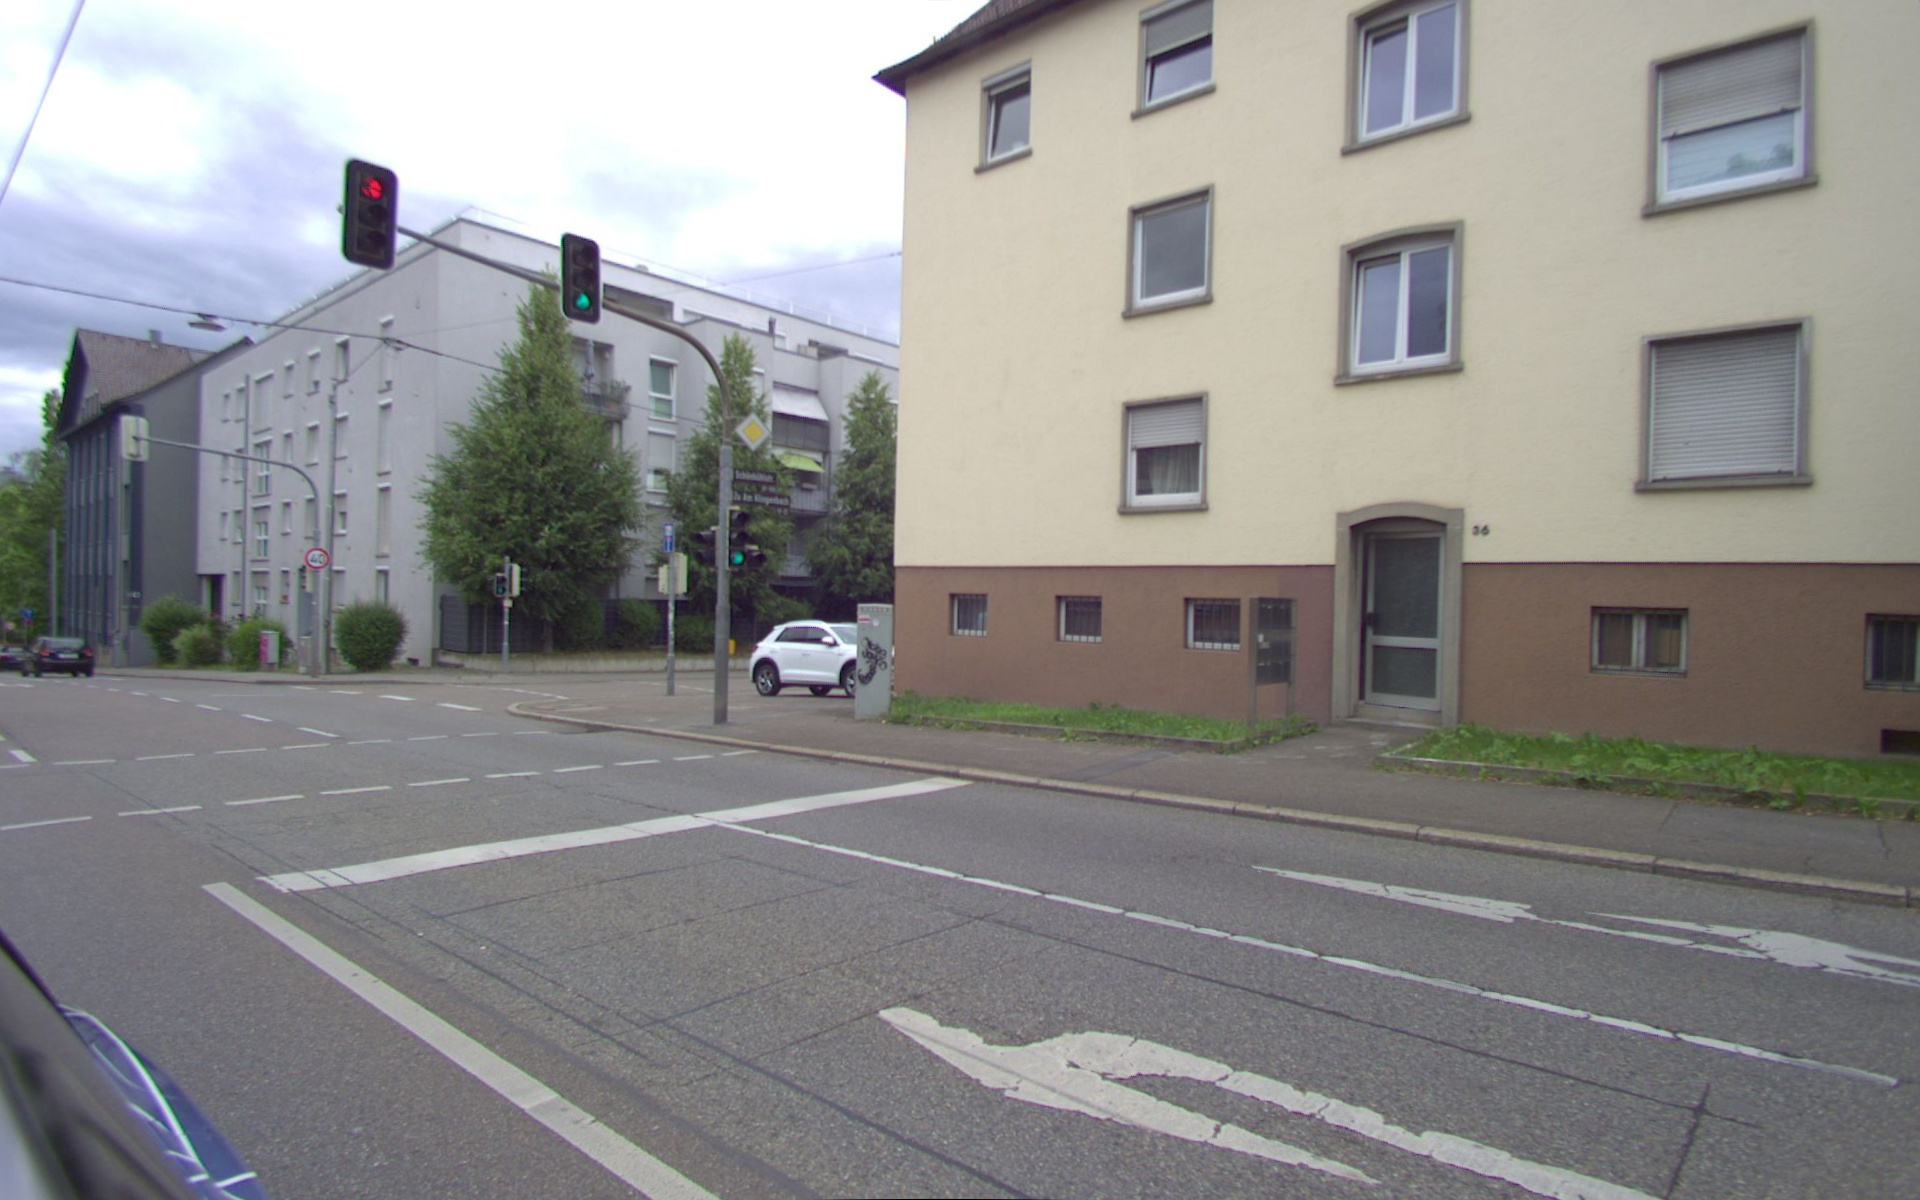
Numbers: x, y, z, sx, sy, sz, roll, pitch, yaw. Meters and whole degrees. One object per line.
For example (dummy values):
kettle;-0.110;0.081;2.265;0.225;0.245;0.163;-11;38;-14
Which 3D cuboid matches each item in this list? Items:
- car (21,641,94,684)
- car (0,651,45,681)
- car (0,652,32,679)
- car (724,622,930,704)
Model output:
car;-32.803;2.224;36.750;3.614;1.475;1.570;-2;-3;42
car;-48.281;3.335;51.727;3.999;1.420;1.776;-2;-3;42
car;-52.634;3.575;55.780;3.999;1.420;1.776;-2;-3;42
car;-2.837;1.328;21.129;4.253;1.549;1.797;-3;-5;37
